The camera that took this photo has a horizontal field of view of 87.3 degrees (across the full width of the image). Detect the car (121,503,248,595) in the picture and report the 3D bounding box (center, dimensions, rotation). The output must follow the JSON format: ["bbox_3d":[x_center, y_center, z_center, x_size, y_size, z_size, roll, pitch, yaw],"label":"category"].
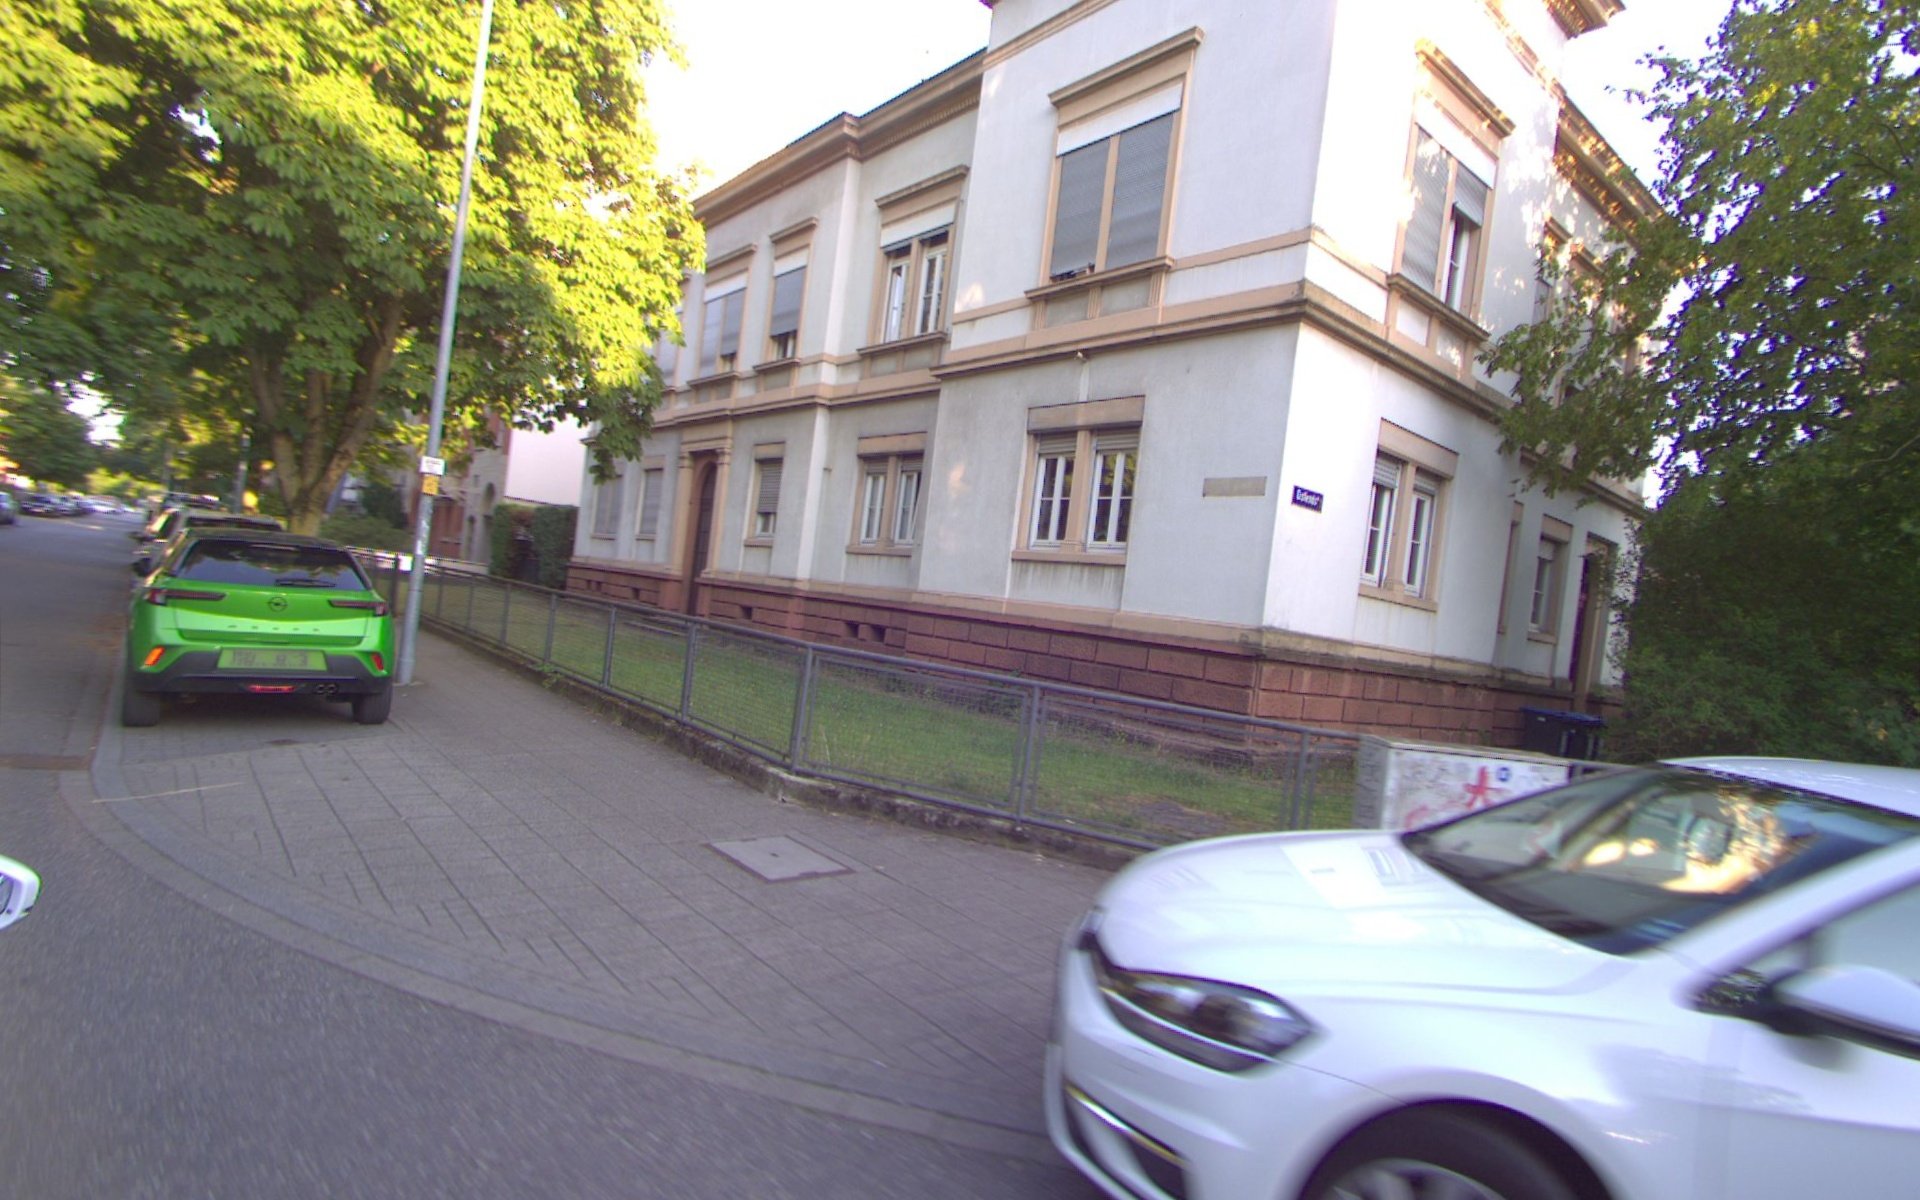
[{"bbox_3d":[-15.617,-1.051,20.187,1.657,1.520,3.649,4,2,-43],"label":"car"}]

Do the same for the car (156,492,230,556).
[{"bbox_3d":[-27.456,-2.760,35.941,1.830,1.968,4.561,4,2,-40],"label":"car"}]

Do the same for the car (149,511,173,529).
[{"bbox_3d":[-75.092,-7.563,94.498,1.678,1.459,4.163,5,1,-39],"label":"car"}]

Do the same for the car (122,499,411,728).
[{"bbox_3d":[-6.403,0.003,9.086,1.722,1.577,3.917,4,2,-40],"label":"car"}]

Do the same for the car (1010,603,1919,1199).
[{"bbox_3d":[2.282,1.096,2.731,4.093,1.518,1.815,8,-2,6],"label":"car"}]

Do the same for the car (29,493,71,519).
[{"bbox_3d":[-63.315,-6.530,70.054,1.608,1.488,3.921,8,-1,-36],"label":"car"}]

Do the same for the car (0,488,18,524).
[{"bbox_3d":[-44.737,-4.447,46.453,1.548,1.498,3.649,11,-2,-43],"label":"car"}]

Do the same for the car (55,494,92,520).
[{"bbox_3d":[-73.316,-7.691,83.233,1.913,1.737,4.379,8,-1,-39],"label":"car"}]

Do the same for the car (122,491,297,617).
[{"bbox_3d":[-12.412,-0.799,16.544,4.066,1.701,1.659,7,2,45],"label":"car"}]

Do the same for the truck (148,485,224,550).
[{"bbox_3d":[-31.316,-3.350,40.653,1.946,2.276,4.588,4,2,-43],"label":"truck"}]

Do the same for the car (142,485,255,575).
[{"bbox_3d":[-20.877,-1.957,27.496,1.946,2.086,4.771,4,2,-43],"label":"car"}]

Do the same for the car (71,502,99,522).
[{"bbox_3d":[-81.614,-8.231,93.863,1.709,1.585,3.746,8,-1,-39],"label":"car"}]

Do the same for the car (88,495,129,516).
[{"bbox_3d":[-123.087,-13.678,145.396,4.335,2.346,1.725,8,-1,-41],"label":"car"}]

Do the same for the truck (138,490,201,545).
[{"bbox_3d":[-39.392,-4.106,50.040,1.970,2.272,6.699,7,-1,-41],"label":"truck"}]

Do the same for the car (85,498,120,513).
[{"bbox_3d":[-121.917,-13.471,143.084,3.608,1.478,1.587,9,-1,-43],"label":"car"}]

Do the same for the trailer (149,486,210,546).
[{"bbox_3d":[-34.776,-3.726,44.779,1.944,2.326,4.593,4,2,-39],"label":"trailer"}]

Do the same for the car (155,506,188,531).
[{"bbox_3d":[-65.406,-6.769,83.438,1.791,1.732,4.547,7,-1,-41],"label":"car"}]
